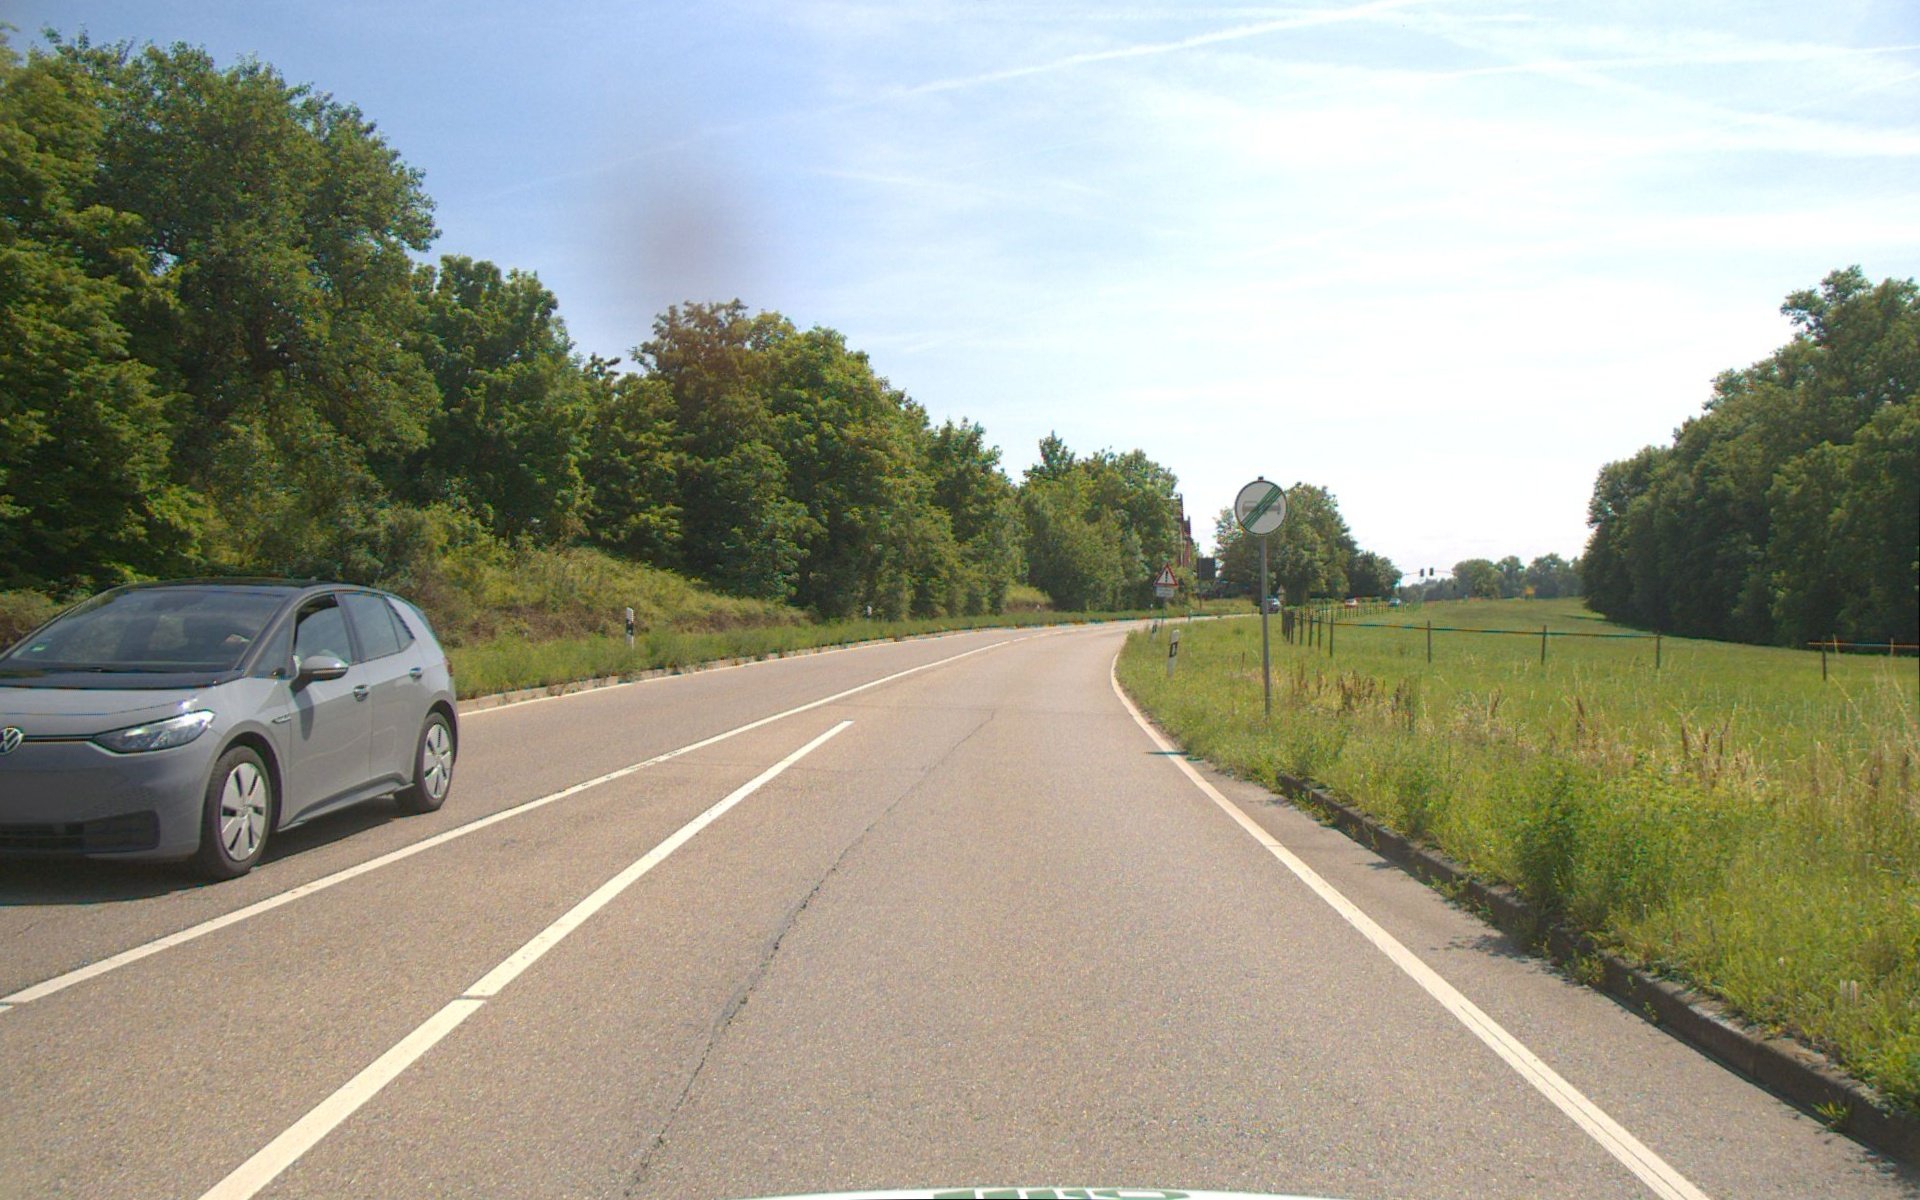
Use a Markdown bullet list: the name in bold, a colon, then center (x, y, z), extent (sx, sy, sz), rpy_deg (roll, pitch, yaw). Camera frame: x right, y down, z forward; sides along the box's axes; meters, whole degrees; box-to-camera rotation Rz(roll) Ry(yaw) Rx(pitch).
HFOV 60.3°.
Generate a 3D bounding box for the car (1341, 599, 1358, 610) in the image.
- **car**: center (54.633, 0.597, 231.855), extent (1.784, 1.494, 4.000), rpy_deg (1, 0, 21)

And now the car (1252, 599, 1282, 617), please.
- **car**: center (28.500, 0.737, 153.498), extent (1.953, 1.601, 3.999), rpy_deg (1, 0, 23)

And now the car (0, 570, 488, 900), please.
- **car**: center (-4.447, 0.640, 10.099), extent (1.718, 1.561, 4.229), rpy_deg (1, 0, 3)
